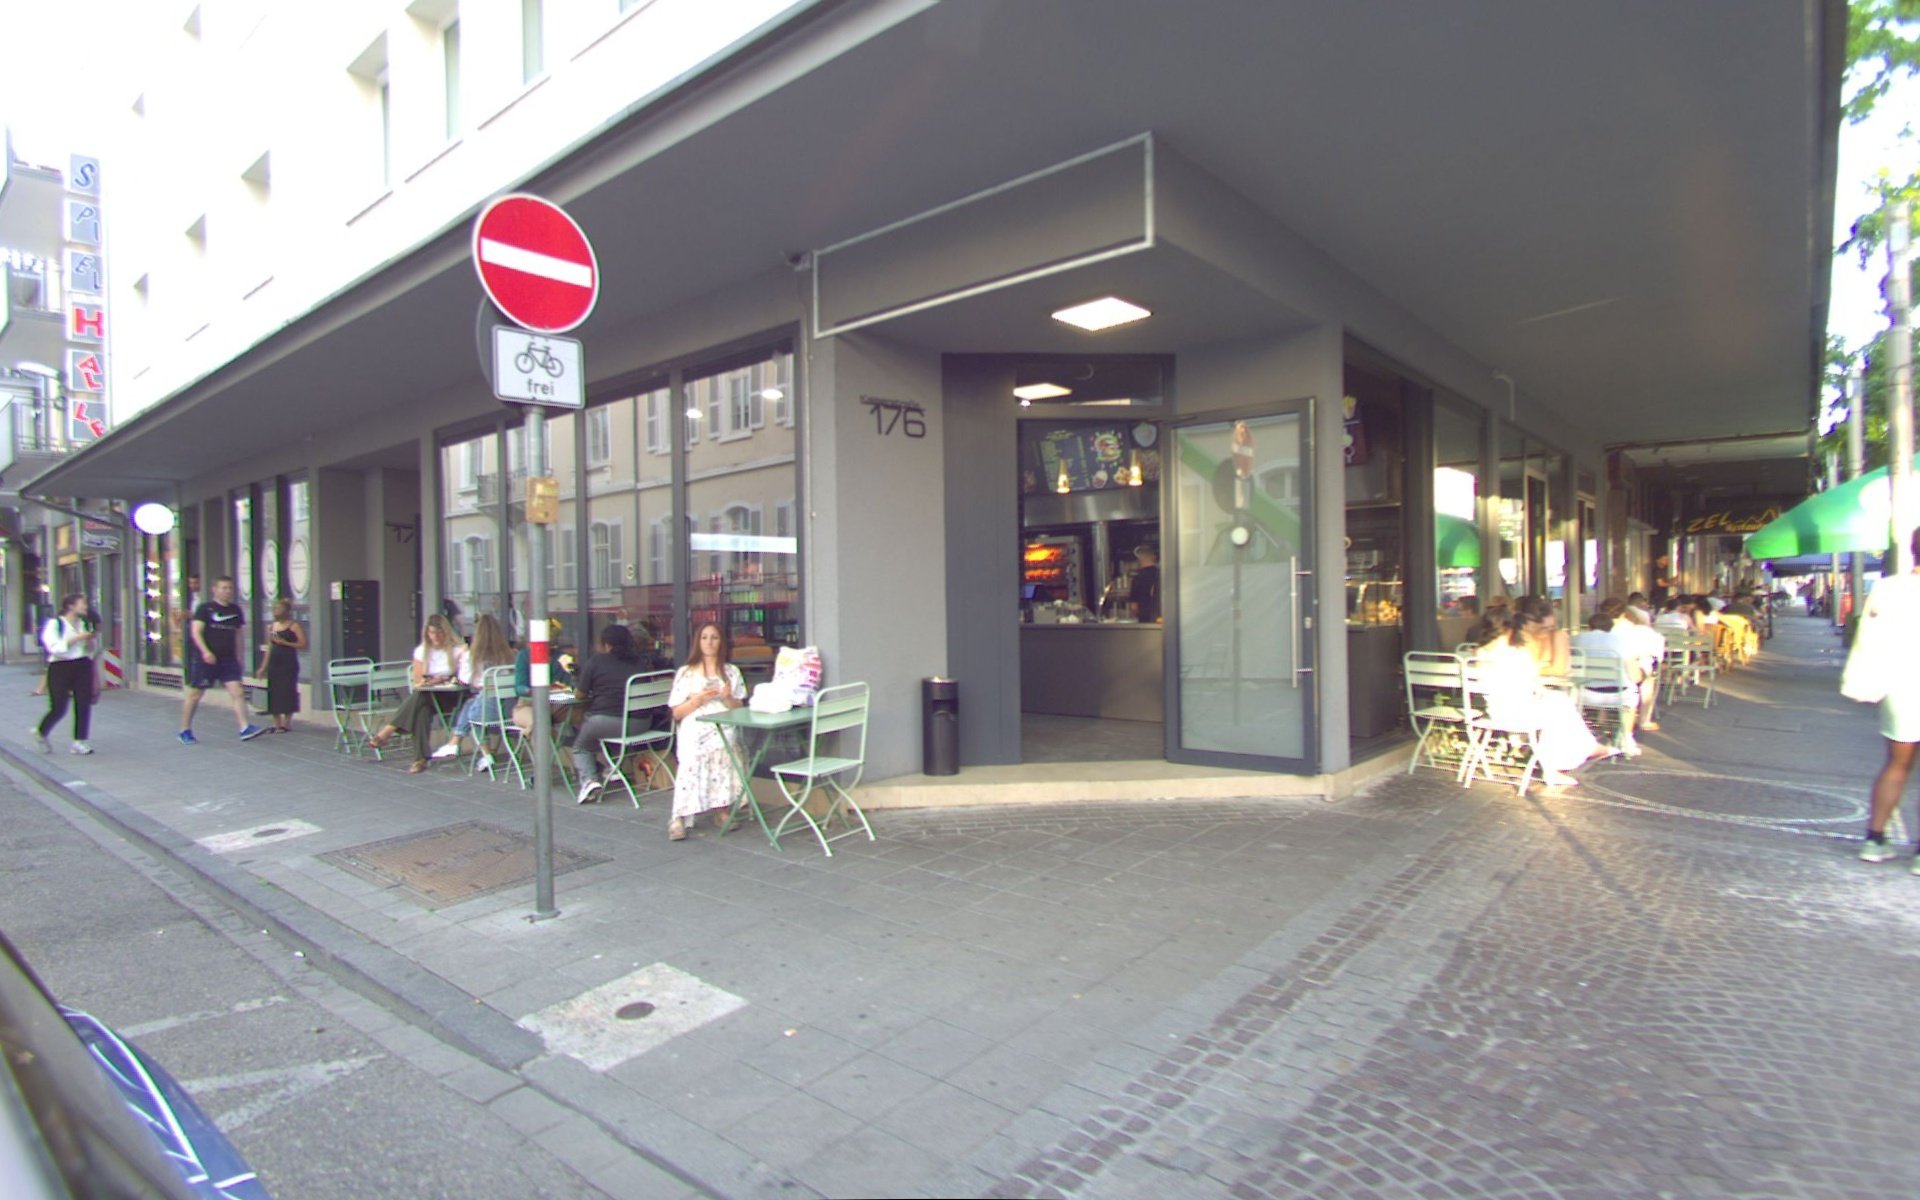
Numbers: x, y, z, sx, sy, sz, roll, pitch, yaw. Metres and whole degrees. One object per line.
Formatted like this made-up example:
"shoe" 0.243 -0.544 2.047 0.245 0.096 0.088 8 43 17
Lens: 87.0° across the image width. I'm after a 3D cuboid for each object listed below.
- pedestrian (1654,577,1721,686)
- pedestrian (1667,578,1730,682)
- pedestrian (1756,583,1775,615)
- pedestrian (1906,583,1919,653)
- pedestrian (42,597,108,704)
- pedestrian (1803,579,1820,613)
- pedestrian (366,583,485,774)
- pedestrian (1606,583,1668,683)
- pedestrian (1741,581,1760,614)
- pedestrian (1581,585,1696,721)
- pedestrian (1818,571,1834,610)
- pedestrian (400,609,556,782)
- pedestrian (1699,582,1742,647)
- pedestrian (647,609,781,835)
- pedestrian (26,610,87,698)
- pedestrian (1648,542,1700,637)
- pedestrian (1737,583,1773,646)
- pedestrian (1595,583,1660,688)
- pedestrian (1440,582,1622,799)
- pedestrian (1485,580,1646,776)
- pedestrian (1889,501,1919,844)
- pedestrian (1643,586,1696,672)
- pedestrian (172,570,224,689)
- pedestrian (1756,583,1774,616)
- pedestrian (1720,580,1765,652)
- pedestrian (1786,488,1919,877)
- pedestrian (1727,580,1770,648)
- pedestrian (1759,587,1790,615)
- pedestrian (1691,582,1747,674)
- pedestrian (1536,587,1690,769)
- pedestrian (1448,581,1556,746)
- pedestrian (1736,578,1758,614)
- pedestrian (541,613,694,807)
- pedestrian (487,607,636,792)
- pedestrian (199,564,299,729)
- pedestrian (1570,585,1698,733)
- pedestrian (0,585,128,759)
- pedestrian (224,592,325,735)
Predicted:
"pedestrian" 9.619 0.406 13.375 0.656 1.389 0.755 0 -1 41
"pedestrian" 10.248 0.404 14.038 0.656 1.389 0.755 0 -1 41
"pedestrian" 32.353 -0.031 40.640 0.523 1.265 0.579 3 2 40
"pedestrian" 17.726 0.325 18.421 0.710 1.274 0.592 0 -1 41
"pedestrian" -15.394 0.855 17.597 0.932 1.795 0.697 -2 0 40
"pedestrian" 36.846 -0.164 43.803 0.511 1.444 0.603 1 1 43
"pedestrian" -4.677 0.645 8.842 0.695 1.559 0.862 -2 0 -42
"pedestrian" 9.693 0.457 14.484 0.656 1.389 0.755 0 -1 41
"pedestrian" 32.927 -0.103 42.147 0.596 1.383 0.445 1 2 -40
"pedestrian" 7.043 0.517 10.501 0.850 1.330 0.869 0 -1 44
"pedestrian" 37.723 -0.418 44.079 0.511 1.673 0.603 1 1 43
"pedestrian" -3.853 0.737 8.127 0.853 1.295 0.702 -2 0 16
"pedestrian" 16.642 0.320 22.144 0.692 1.389 0.755 0 -1 41
"pedestrian" -1.467 0.680 6.089 0.694 1.228 0.844 -2 0 -12
"pedestrian" -17.114 1.004 19.177 0.612 1.590 0.702 -2 1 37
"pedestrian" 13.723 -0.194 19.473 0.652 1.779 0.760 0 0 22
"pedestrian" 17.873 0.331 22.745 0.607 1.389 0.639 0 -1 41
"pedestrian" 9.135 0.471 13.851 0.656 1.389 0.755 0 -1 41
"pedestrian" 3.847 0.556 6.819 0.888 1.330 0.869 0 -1 43
"pedestrian" 4.471 0.531 7.471 0.850 1.330 0.869 0 -1 44
"pedestrian" 5.305 0.371 5.031 0.770 1.754 0.642 0 0 -2
"pedestrian" 11.862 0.476 16.920 0.656 1.389 0.755 0 -1 41
"pedestrian" -12.074 0.462 16.037 0.613 1.824 0.538 -2 -2 40
"pedestrian" 31.787 -0.023 39.965 0.512 1.251 0.652 3 2 40
"pedestrian" 15.422 0.312 19.944 0.656 1.389 0.755 0 -1 41
"pedestrian" 4.606 0.372 4.847 0.773 1.754 0.640 0 0 10
"pedestrian" 16.137 0.282 20.712 0.656 1.341 0.755 0 -1 41
"pedestrian" 34.482 0.046 42.846 0.766 1.128 0.826 0 2 -40
"pedestrian" 11.852 0.420 15.803 0.656 1.389 0.755 0 -1 41
"pedestrian" 5.197 0.575 8.055 0.888 1.330 0.869 0 -1 43
"pedestrian" 4.650 0.515 8.680 0.624 1.330 0.830 0 -1 43
"pedestrian" 32.349 -0.155 41.597 0.612 1.444 0.504 3 2 43
"pedestrian" -2.386 0.725 7.053 0.691 1.204 0.696 -2 3 43
"pedestrian" -3.000 0.710 7.619 0.778 1.249 0.696 -1 3 44
"pedestrian" -8.279 0.513 11.784 0.932 1.824 0.707 -2 0 41
"pedestrian" 6.457 0.531 9.700 0.888 1.330 0.869 0 -1 43
"pedestrian" -9.493 0.741 10.681 0.777 1.753 0.755 0 -2 14
"pedestrian" -7.880 0.715 11.657 0.632 1.581 0.656 -2 1 15
